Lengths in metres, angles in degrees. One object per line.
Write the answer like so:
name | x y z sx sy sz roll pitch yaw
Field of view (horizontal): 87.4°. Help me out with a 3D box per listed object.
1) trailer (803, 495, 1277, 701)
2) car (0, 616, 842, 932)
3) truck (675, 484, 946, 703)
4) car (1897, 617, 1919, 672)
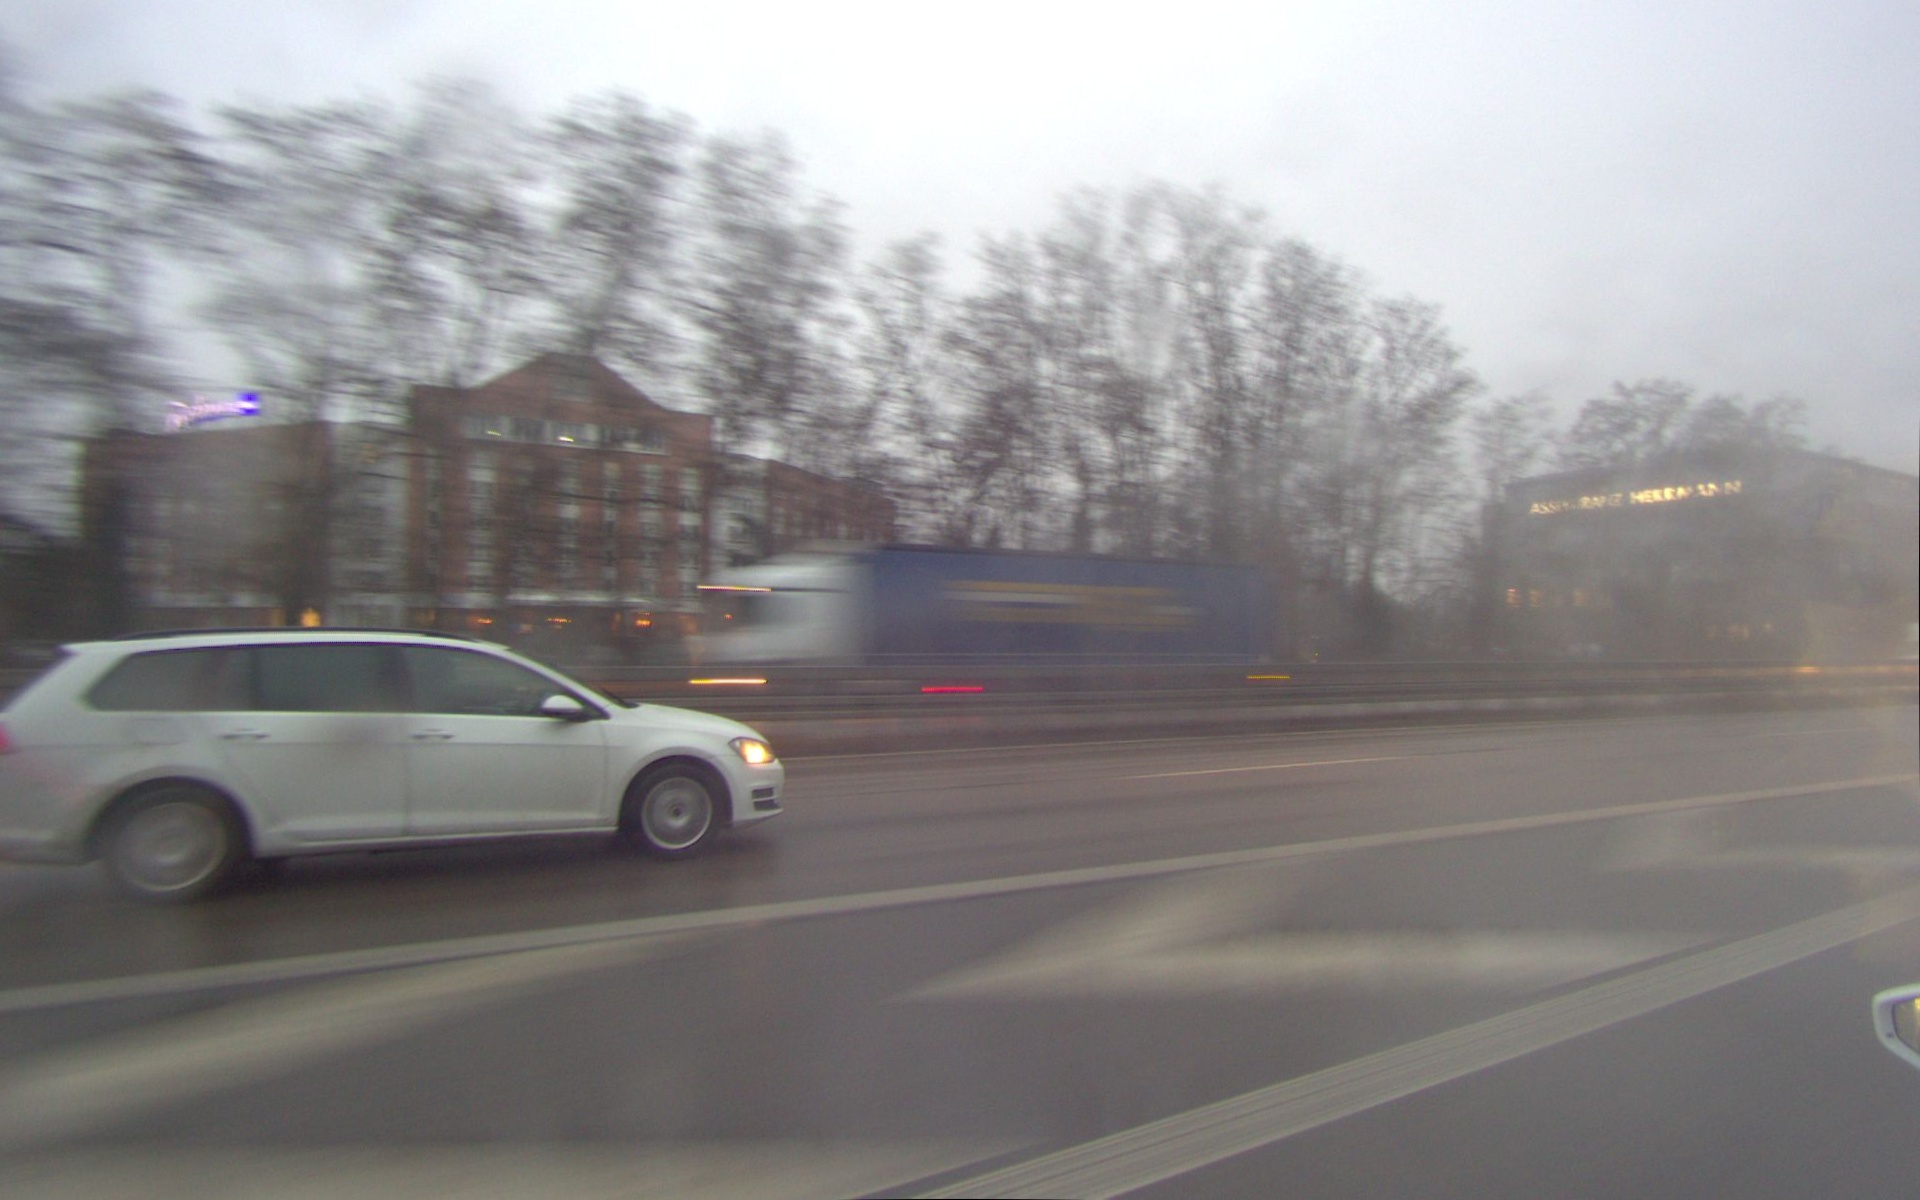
trailer | 2.557 0.125 28.355 13.296 4.912 3.479 2 0 -25
car | -3.332 0.935 6.631 4.722 1.540 1.942 1 -3 -25
truck | -3.817 -0.066 25.357 5.949 4.912 3.479 2 0 -25
car | 51.268 2.330 51.628 6.257 2.767 2.519 2 0 -27
